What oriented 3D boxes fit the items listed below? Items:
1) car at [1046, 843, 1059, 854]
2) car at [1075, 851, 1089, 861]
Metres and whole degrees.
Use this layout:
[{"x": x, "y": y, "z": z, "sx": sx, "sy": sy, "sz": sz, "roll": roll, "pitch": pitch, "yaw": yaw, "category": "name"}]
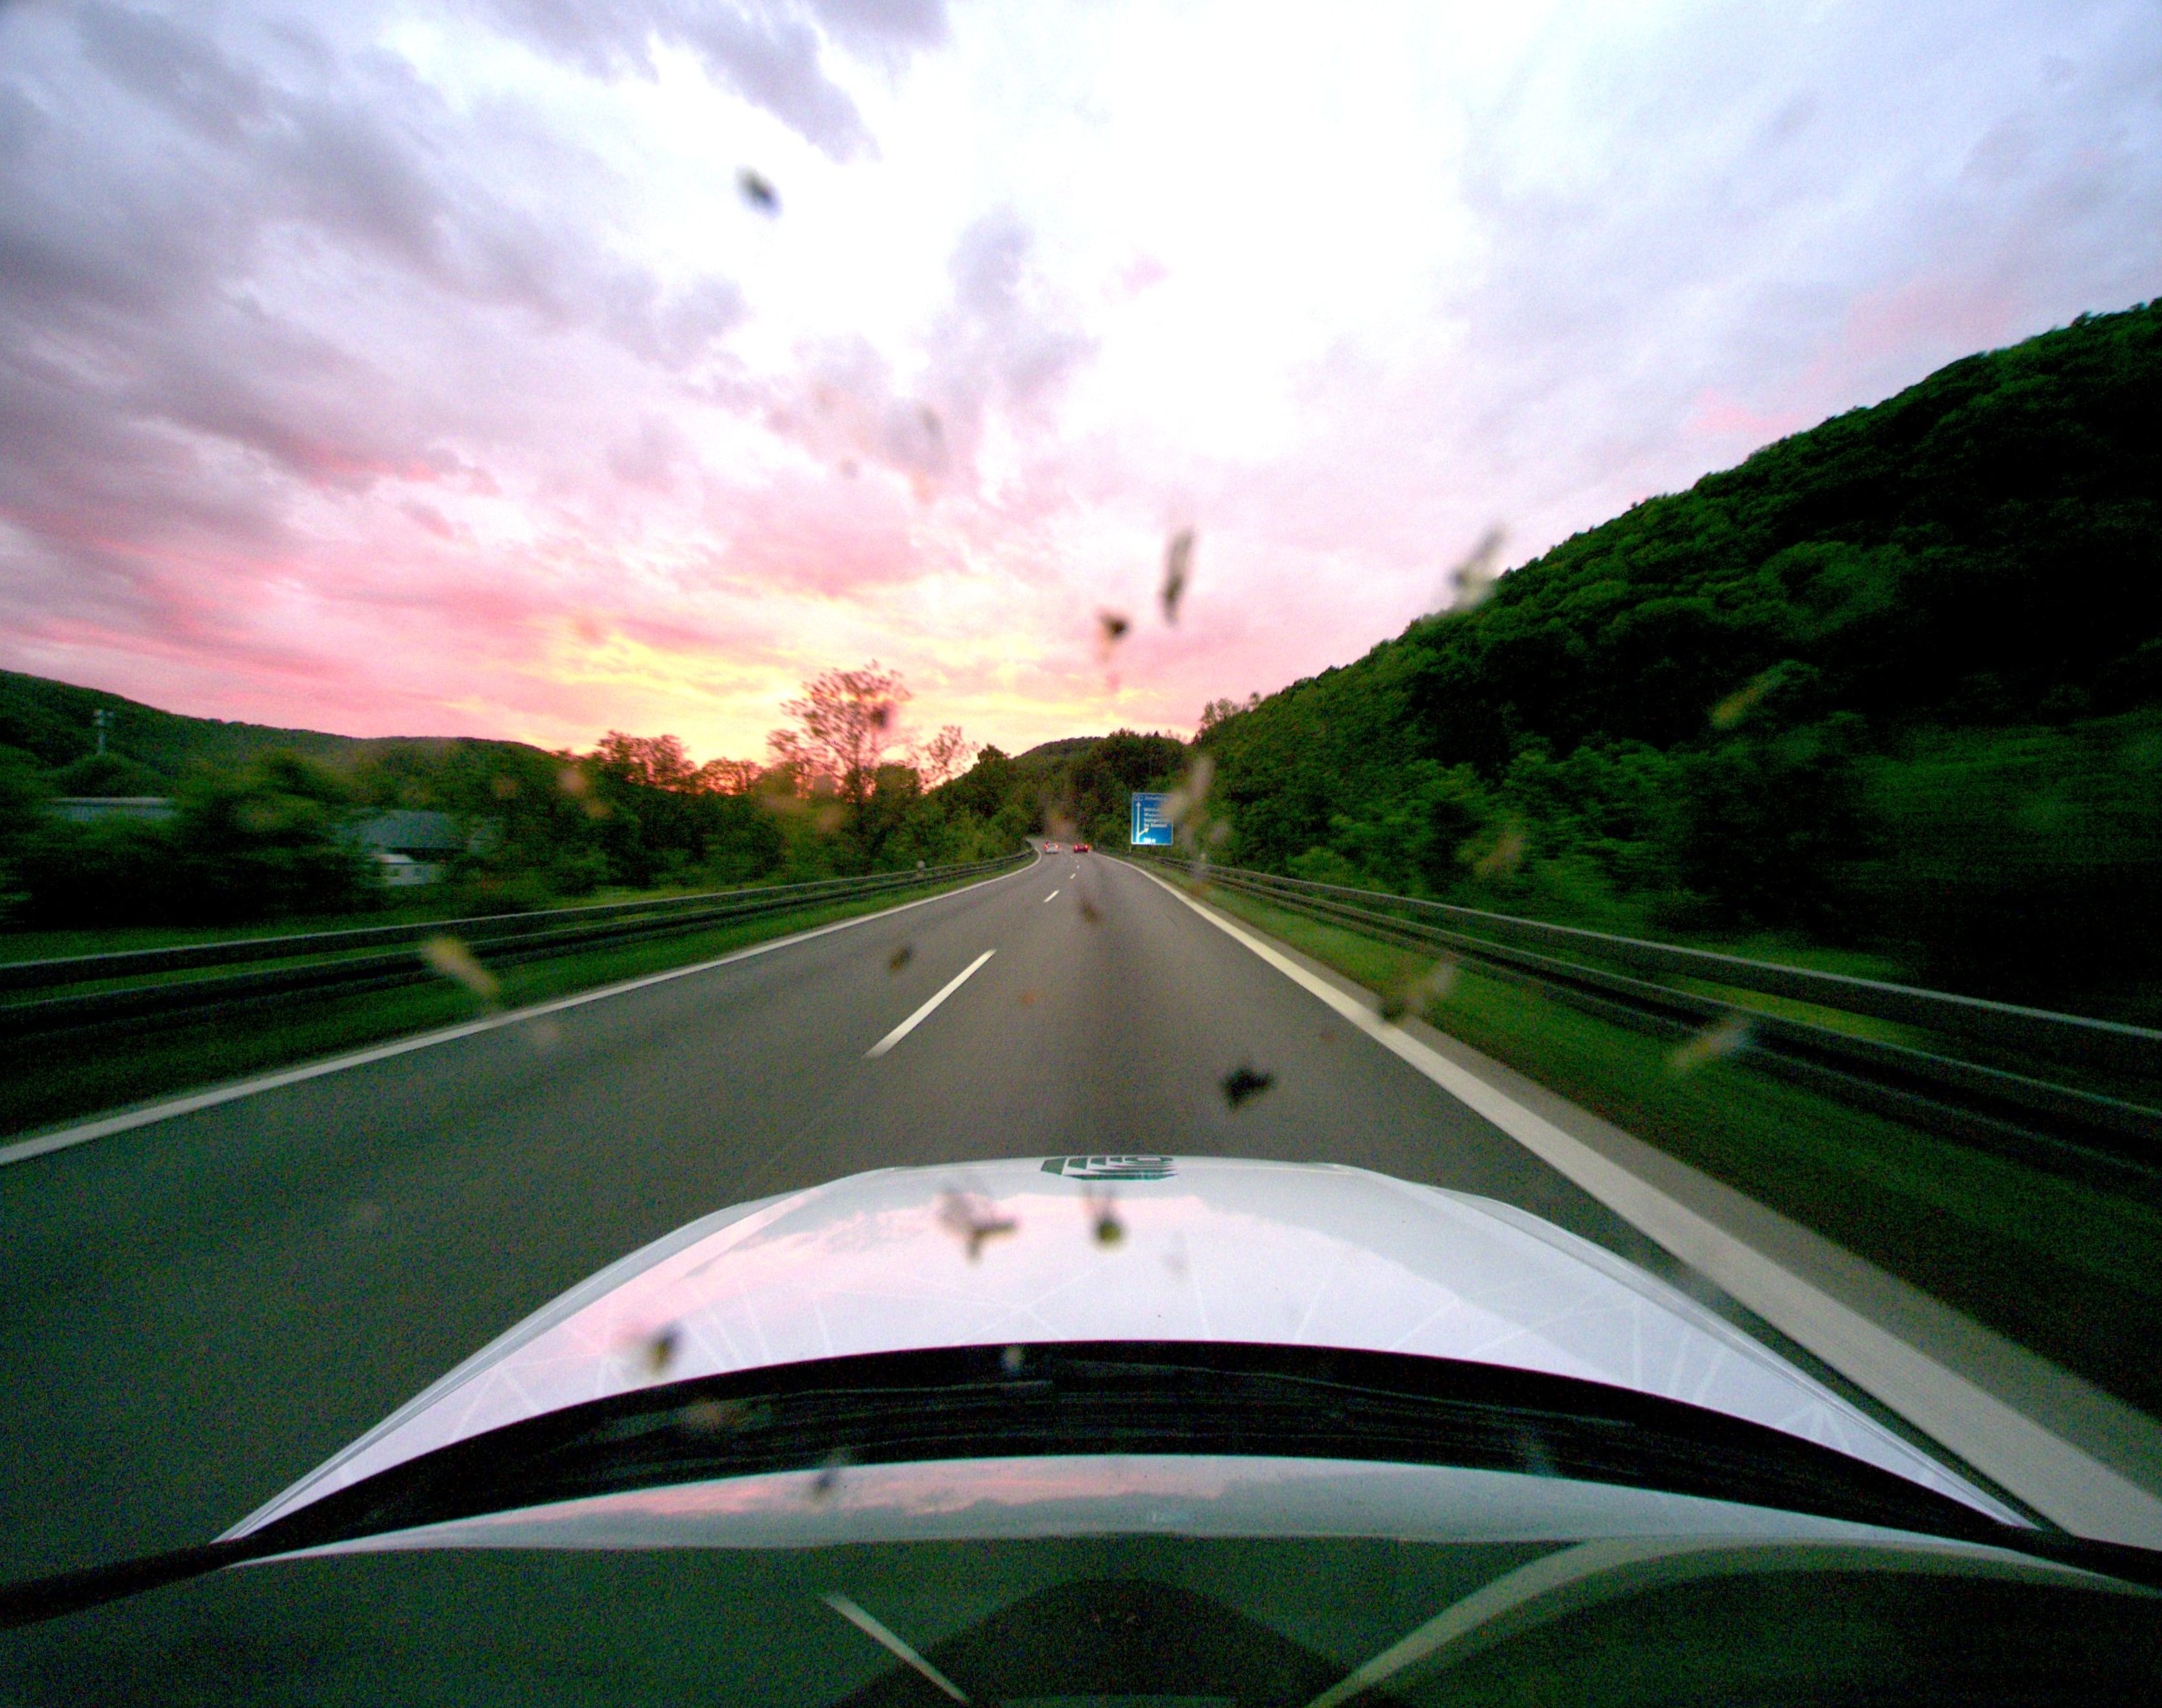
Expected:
[{"x": -4.005, "y": -0.701, "z": 114.307, "sx": 1.712, "sy": 1.501, "sz": 4.000, "roll": 0, "pitch": 0, "yaw": 0, "category": "car"}, {"x": 0.206, "y": 0.310, "z": 116.946, "sx": 1.871, "sy": 1.466, "sz": 4.001, "roll": 0, "pitch": 0, "yaw": 1, "category": "car"}]
